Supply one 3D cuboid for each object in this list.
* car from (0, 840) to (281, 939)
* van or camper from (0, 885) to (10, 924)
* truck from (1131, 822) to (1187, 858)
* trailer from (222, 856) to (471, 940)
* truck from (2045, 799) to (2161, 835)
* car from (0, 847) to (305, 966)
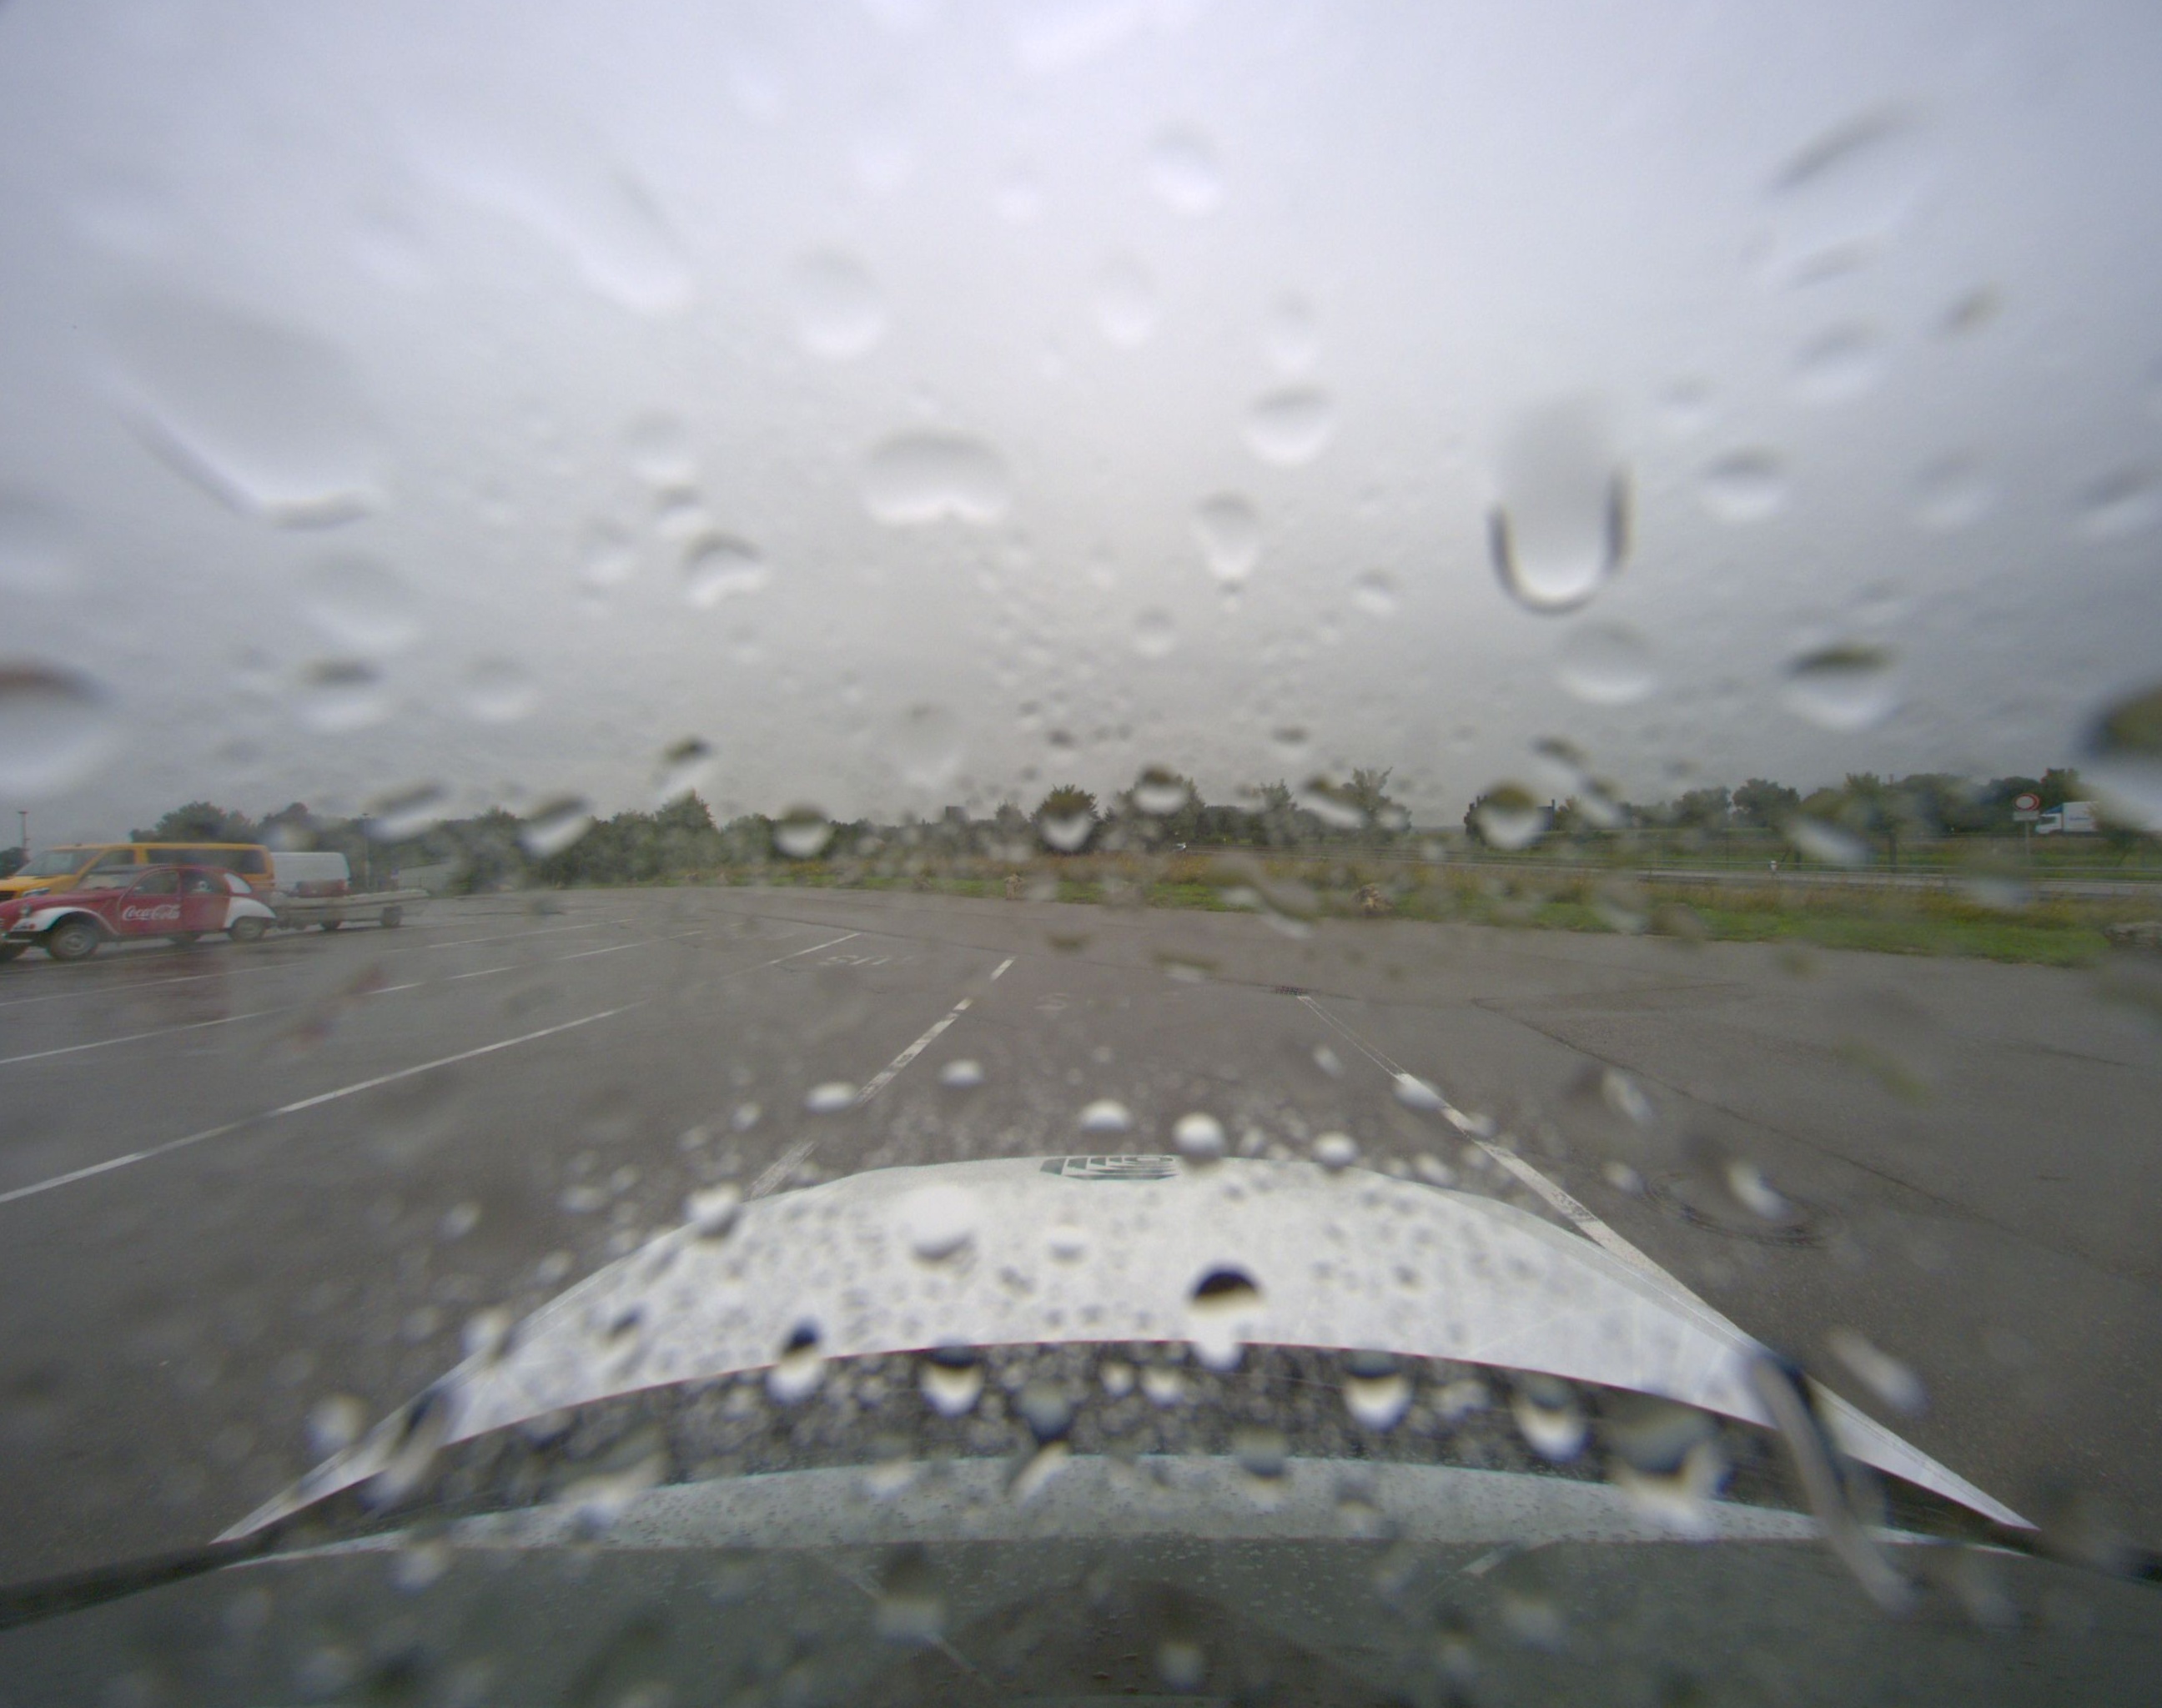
[{"bbox_3d":[-26.769,0.919,23.063,1.986,2.380,6.028,-4,0,2],"label":"car"},{"bbox_3d":[-62.351,2.897,46.027,3.948,2.166,2.013,-2,0,34],"label":"van or camper"},{"bbox_3d":[7.634,-1.356,81.197,2.745,3.391,8.022,-1,0,-16],"label":"truck"},{"bbox_3d":[-16.159,0.889,18.246,1.687,1.532,4.006,-2,1,5],"label":"trailer"},{"bbox_3d":[89.736,-3.175,70.601,2.187,2.908,7.728,-1,1,-25],"label":"truck"},{"bbox_3d":[-16.533,0.809,14.244,1.813,1.777,4.006,-2,0,5],"label":"car"}]
